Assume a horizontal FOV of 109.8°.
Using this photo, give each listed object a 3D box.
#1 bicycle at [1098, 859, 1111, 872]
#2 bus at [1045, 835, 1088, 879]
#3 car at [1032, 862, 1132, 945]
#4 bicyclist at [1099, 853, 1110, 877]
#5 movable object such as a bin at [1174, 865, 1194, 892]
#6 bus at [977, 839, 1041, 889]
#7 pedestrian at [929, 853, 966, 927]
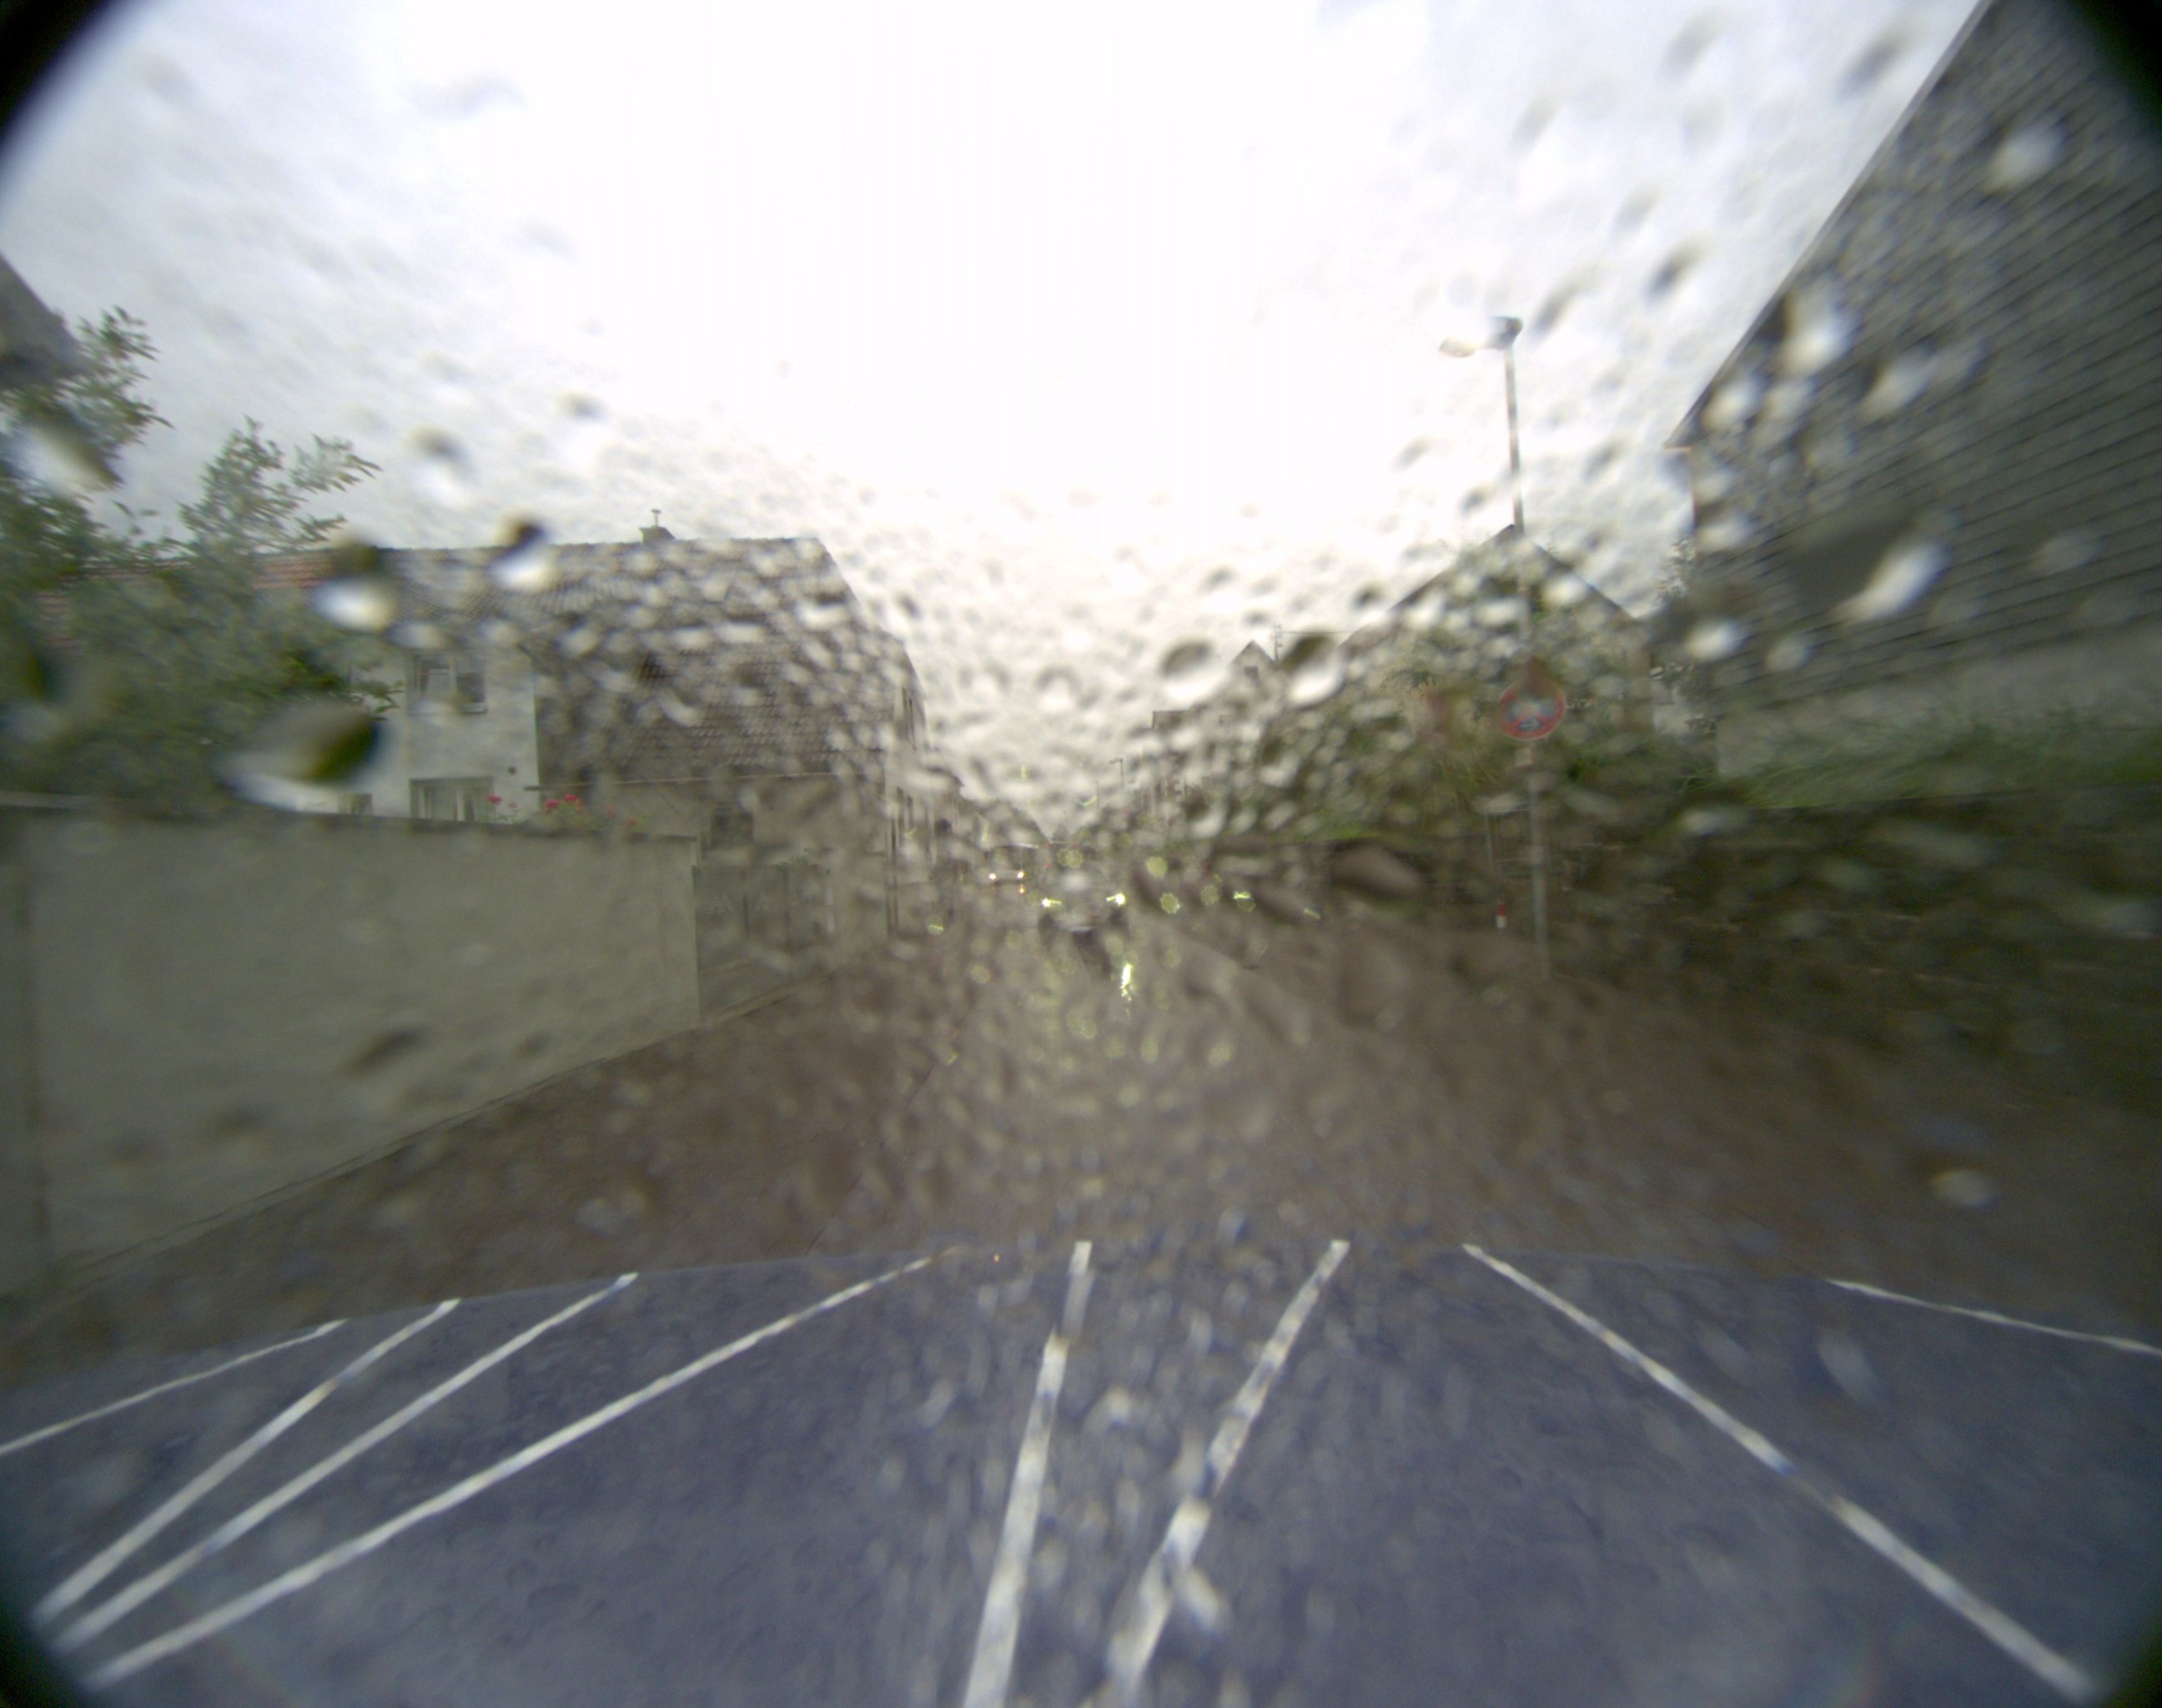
[{"bbox_3d":[1.743,0.833,56.547,0.663,0.865,1.935,-4,-2,-4],"label":"bicycle"},{"bbox_3d":[-1.038,0.226,58.993,2.813,2.922,11.940,-4,0,0],"label":"bus"},{"bbox_3d":[-0.118,0.950,16.421,1.780,1.349,4.186,-5,1,-4],"label":"car"},{"bbox_3d":[1.734,0.804,56.557,0.658,1.759,0.703,-4,-1,-4],"label":"bicyclist"},{"bbox_3d":[3.719,0.865,27.348,0.539,0.925,0.544,-4,1,-7],"label":"movable object such as a bin"},{"bbox_3d":[-5.566,0.687,61.934,3.440,3.391,13.871,-3,0,1],"label":"bus"},{"bbox_3d":[-3.230,0.851,18.440,0.696,1.722,0.820,-3,1,-4],"label":"pedestrian"}]
